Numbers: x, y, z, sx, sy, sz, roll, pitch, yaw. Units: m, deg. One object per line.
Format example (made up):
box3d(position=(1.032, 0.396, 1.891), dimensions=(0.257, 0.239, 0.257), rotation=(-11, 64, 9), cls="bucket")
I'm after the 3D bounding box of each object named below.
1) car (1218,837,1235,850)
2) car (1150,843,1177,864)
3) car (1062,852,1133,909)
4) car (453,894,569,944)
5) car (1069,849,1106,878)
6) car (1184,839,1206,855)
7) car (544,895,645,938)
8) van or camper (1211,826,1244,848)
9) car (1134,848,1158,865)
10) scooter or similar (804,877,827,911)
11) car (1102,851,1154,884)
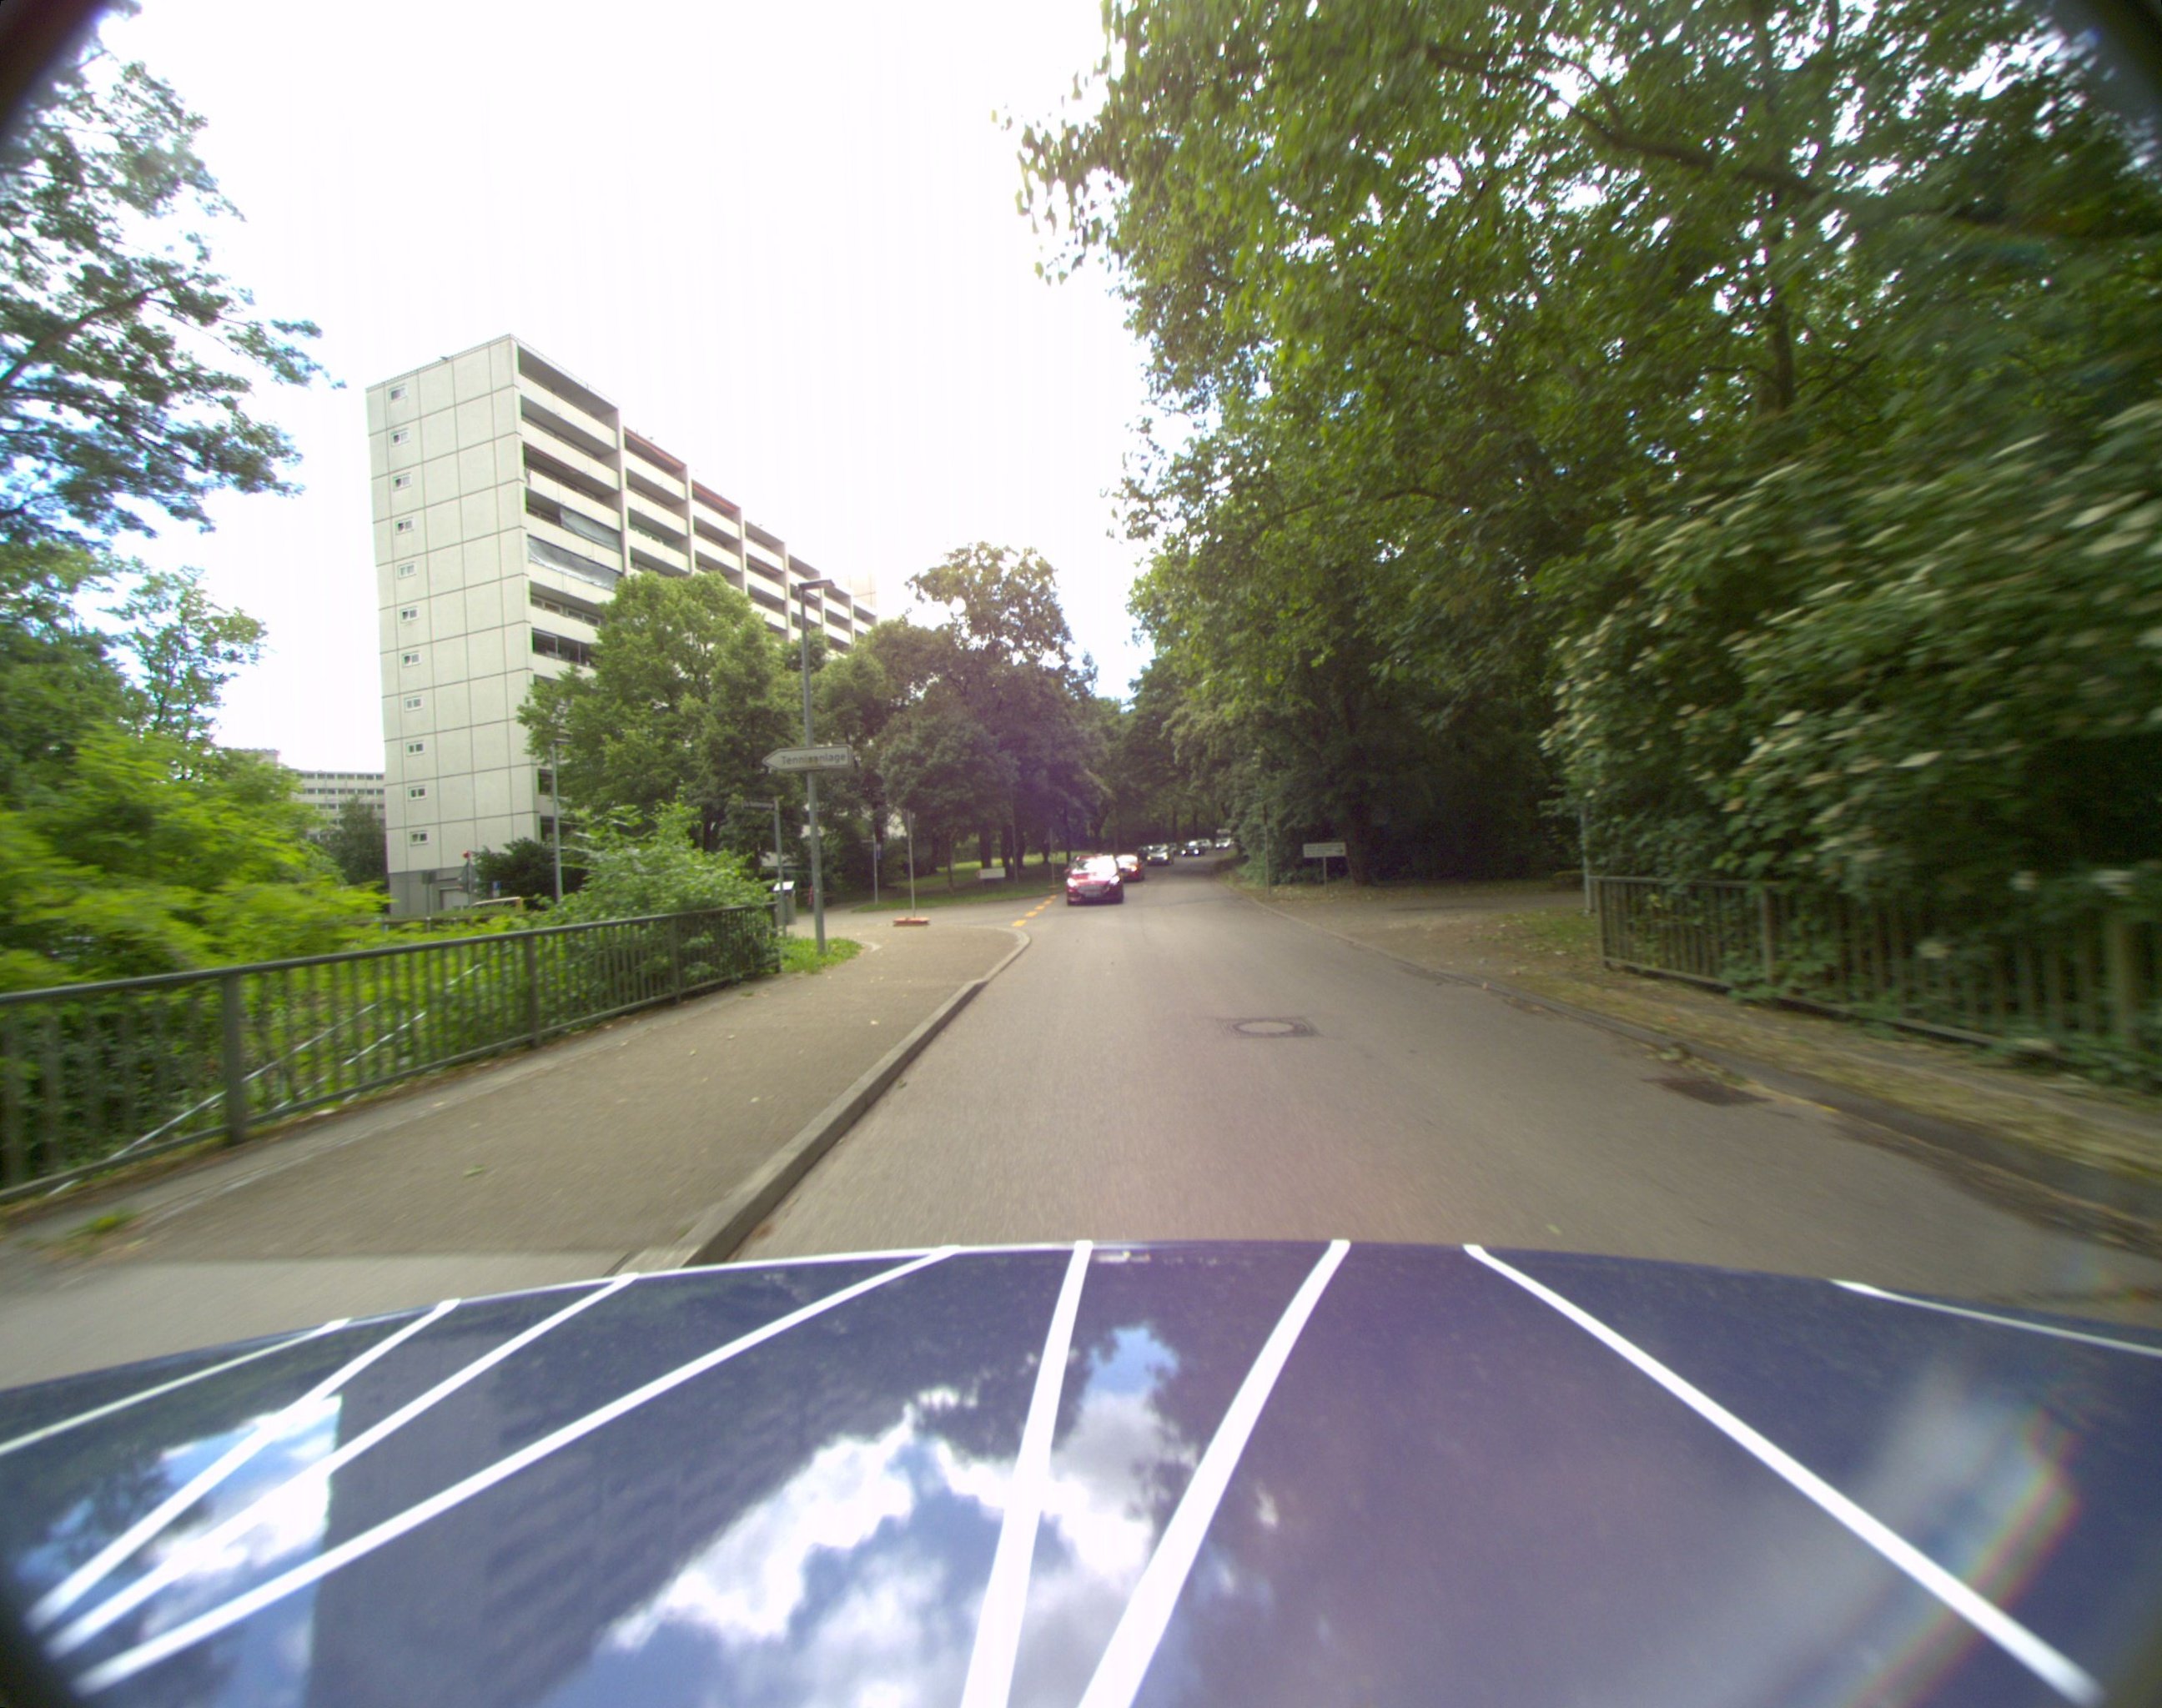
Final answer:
box3d(position=(18.866, -1.329, 98.282), dimensions=(1.766, 1.559, 4.049), rotation=(-4, 1, 16), cls="car")
box3d(position=(6.887, -0.050, 63.184), dimensions=(1.653, 1.559, 4.049), rotation=(-4, 1, 14), cls="car")
box3d(position=(0.654, 0.837, 25.947), dimensions=(2.003, 1.599, 4.678), rotation=(-4, 1, 5), cls="car")
box3d(position=(-25.471, 2.900, 33.975), dimensions=(4.402, 1.838, 1.834), rotation=(-4, 0, 17), cls="car")
box3d(position=(0.448, 0.530, 45.273), dimensions=(1.778, 1.514, 3.782), rotation=(-4, 1, 5), cls="car")
box3d(position=(12.155, -0.746, 80.995), dimensions=(1.766, 1.559, 4.049), rotation=(-4, 1, 16), cls="car")
box3d(position=(-20.875, 2.681, 32.612), dimensions=(3.521, 1.561, 1.835), rotation=(-4, 0, 21), cls="car")
box3d(position=(21.897, -2.553, 113.042), dimensions=(2.426, 2.962, 7.405), rotation=(-3, 1, 29), cls="van or camper")
box3d(position=(6.403, 0.266, 74.495), dimensions=(1.684, 1.456, 3.901), rotation=(-4, 1, 15), cls="car")
box3d(position=(-10.869, 1.633, 31.126), dimensions=(0.283, 1.279, 1.109), rotation=(-4, 1, 11), cls="scooter or similar")
box3d(position=(2.653, 0.697, 41.440), dimensions=(1.956, 1.464, 4.681), rotation=(-4, 1, 14), cls="car")
